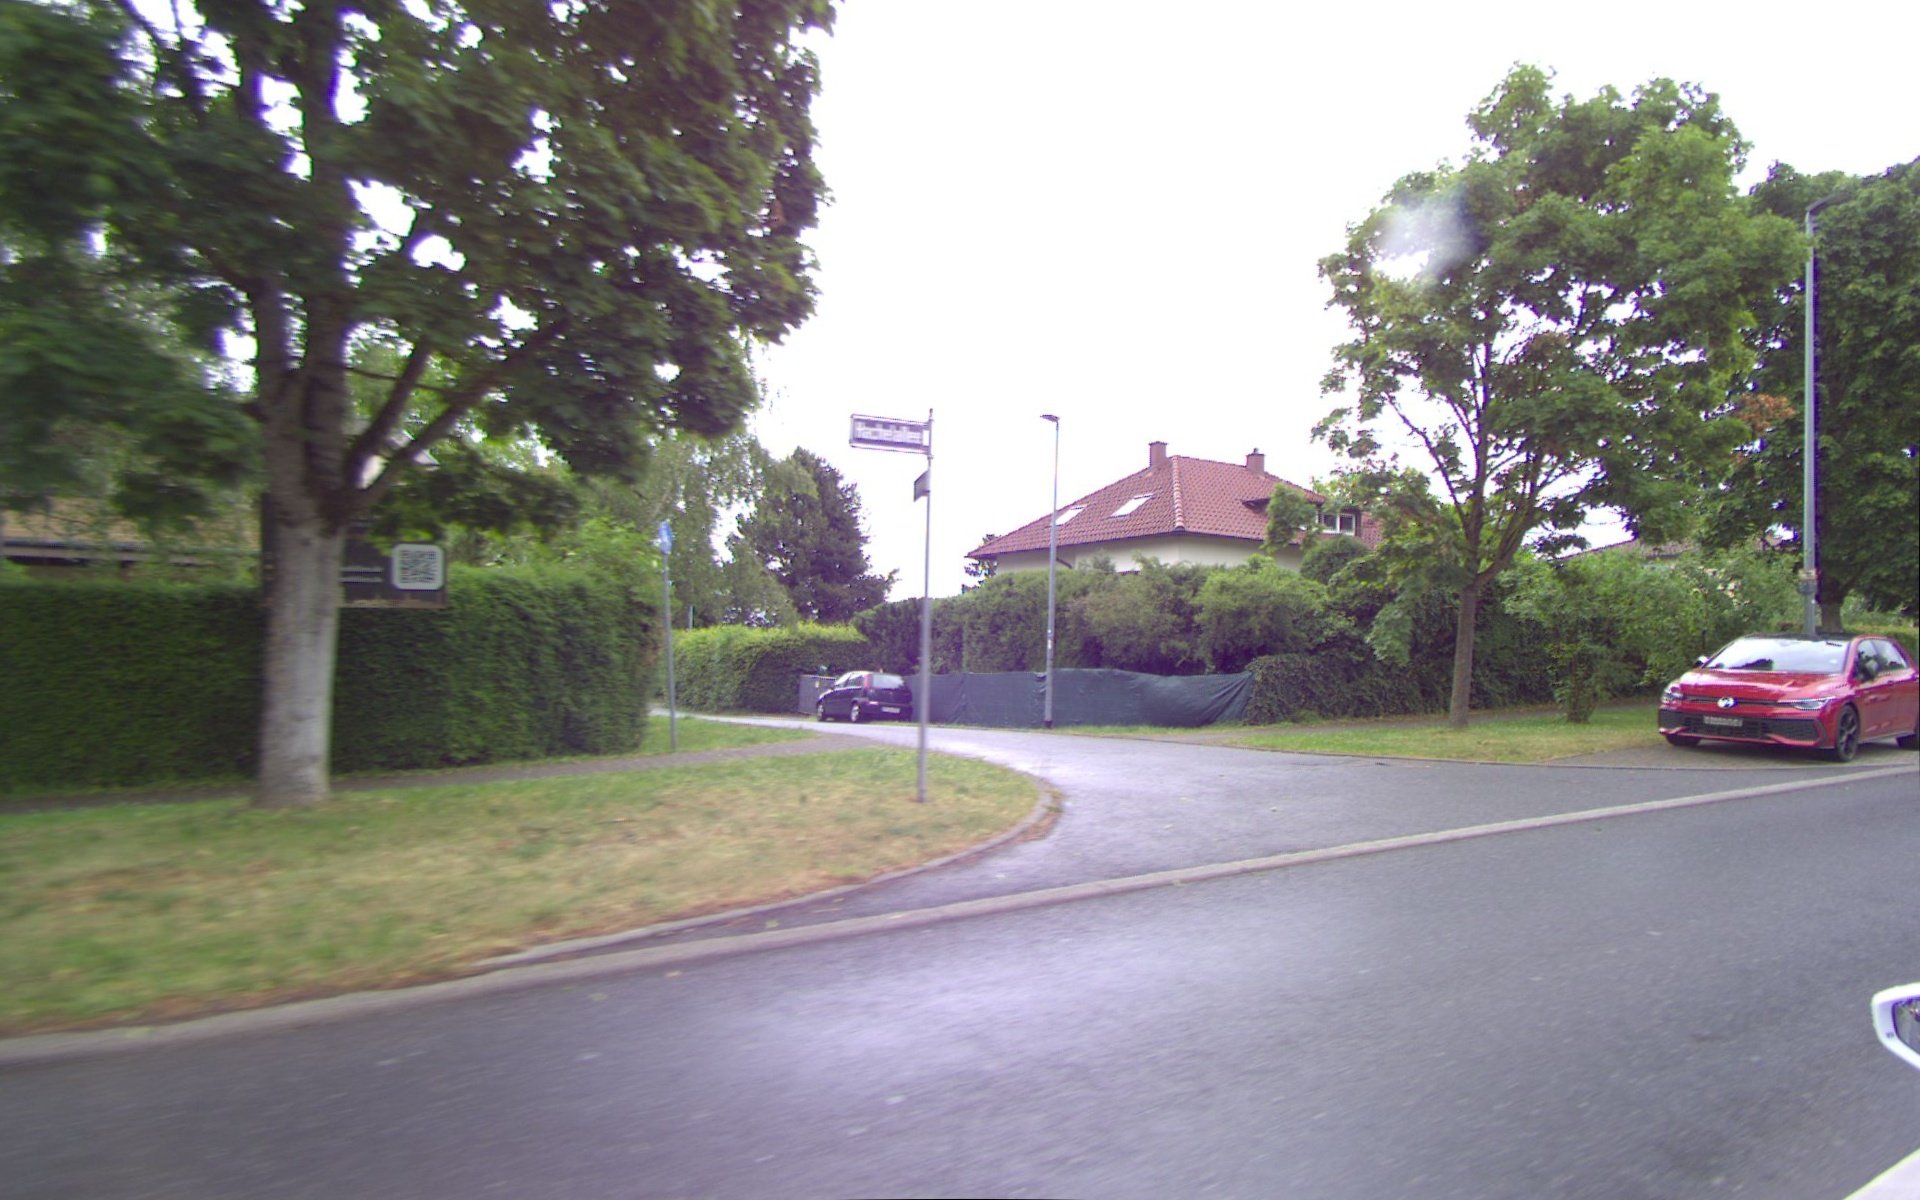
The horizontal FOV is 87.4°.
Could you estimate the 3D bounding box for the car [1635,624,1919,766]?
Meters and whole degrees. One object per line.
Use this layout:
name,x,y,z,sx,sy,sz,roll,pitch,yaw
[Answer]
car,10.543,1.084,12.628,4.201,1.485,1.834,2,-1,-31

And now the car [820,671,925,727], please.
car,-2.474,2.693,27.618,1.790,1.382,3.530,0,-5,-25
